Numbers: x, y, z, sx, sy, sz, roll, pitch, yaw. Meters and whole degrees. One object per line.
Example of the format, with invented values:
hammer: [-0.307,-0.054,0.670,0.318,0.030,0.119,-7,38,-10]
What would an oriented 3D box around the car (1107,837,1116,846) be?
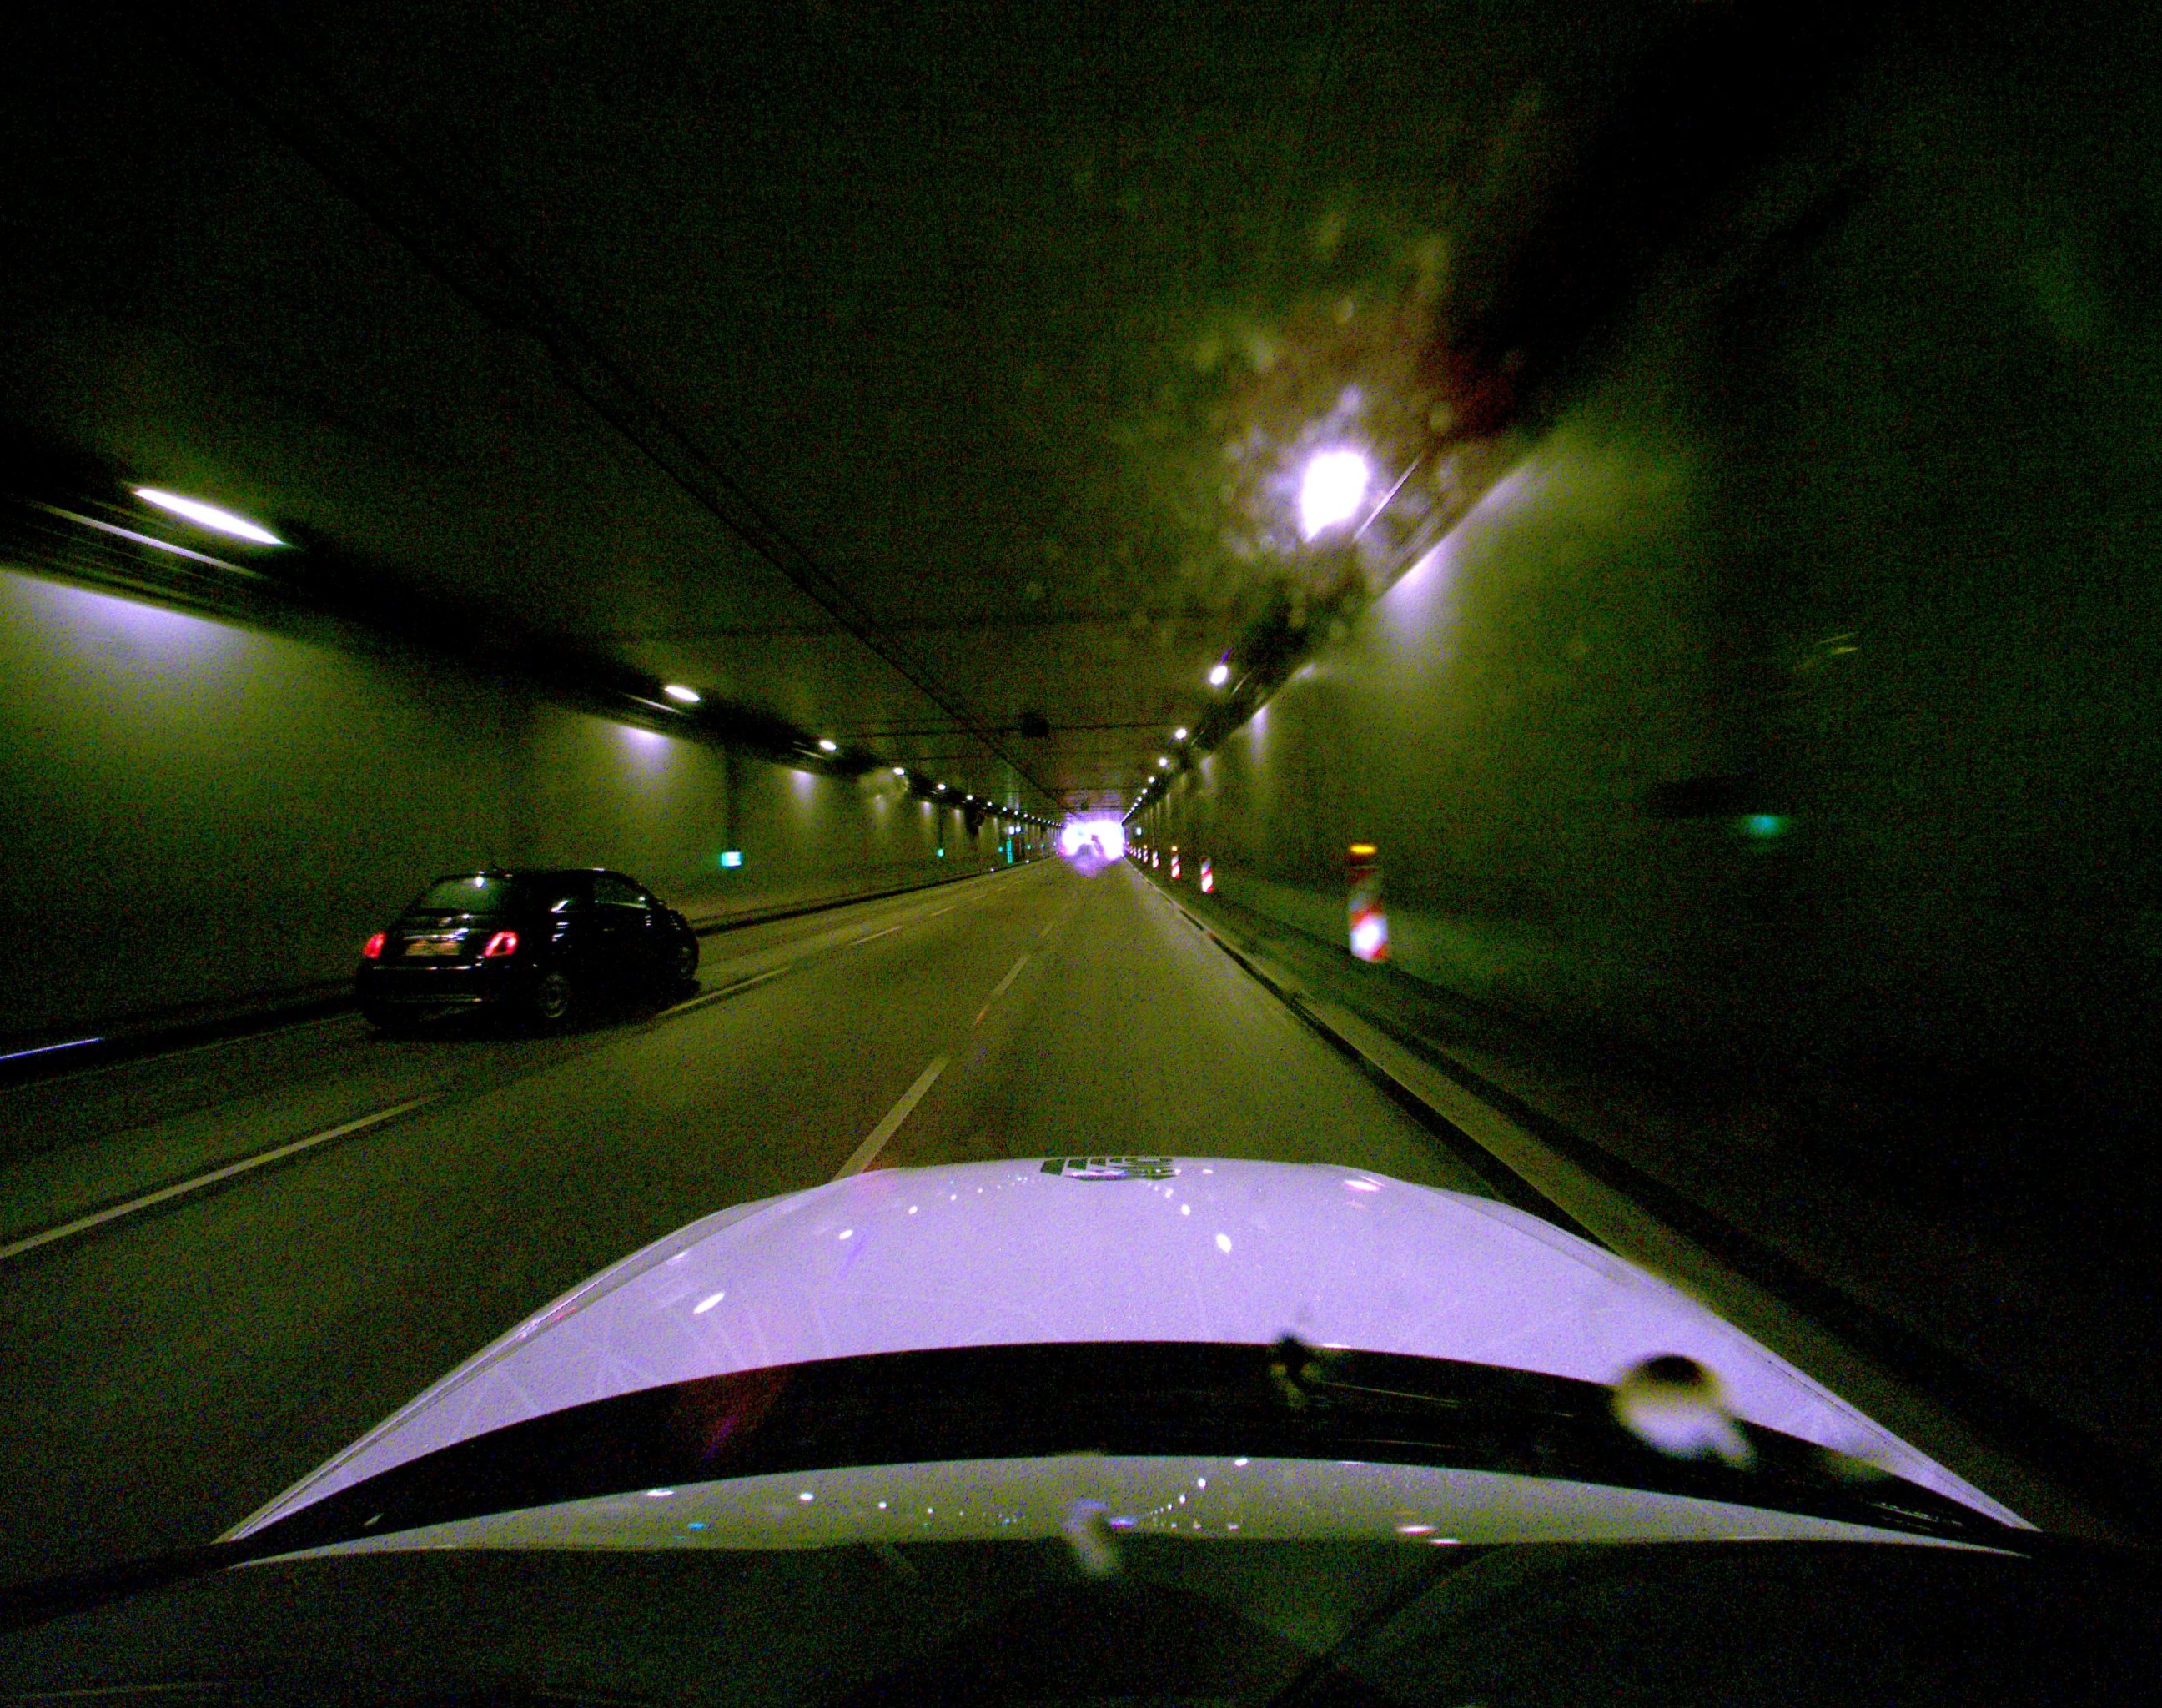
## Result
car: [6.839,-2.823,185.013,1.986,2.013,4.002,-1,0,2]

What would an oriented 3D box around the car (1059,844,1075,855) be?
car: [-1.809,-0.576,102.777,1.988,1.448,4.311,0,1,-2]

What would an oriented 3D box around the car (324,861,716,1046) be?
car: [-5.562,0.857,8.695,1.606,1.454,3.574,-1,1,1]

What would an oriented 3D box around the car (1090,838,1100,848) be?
car: [2.896,-2.204,169.318,1.986,2.013,4.002,-1,0,2]
